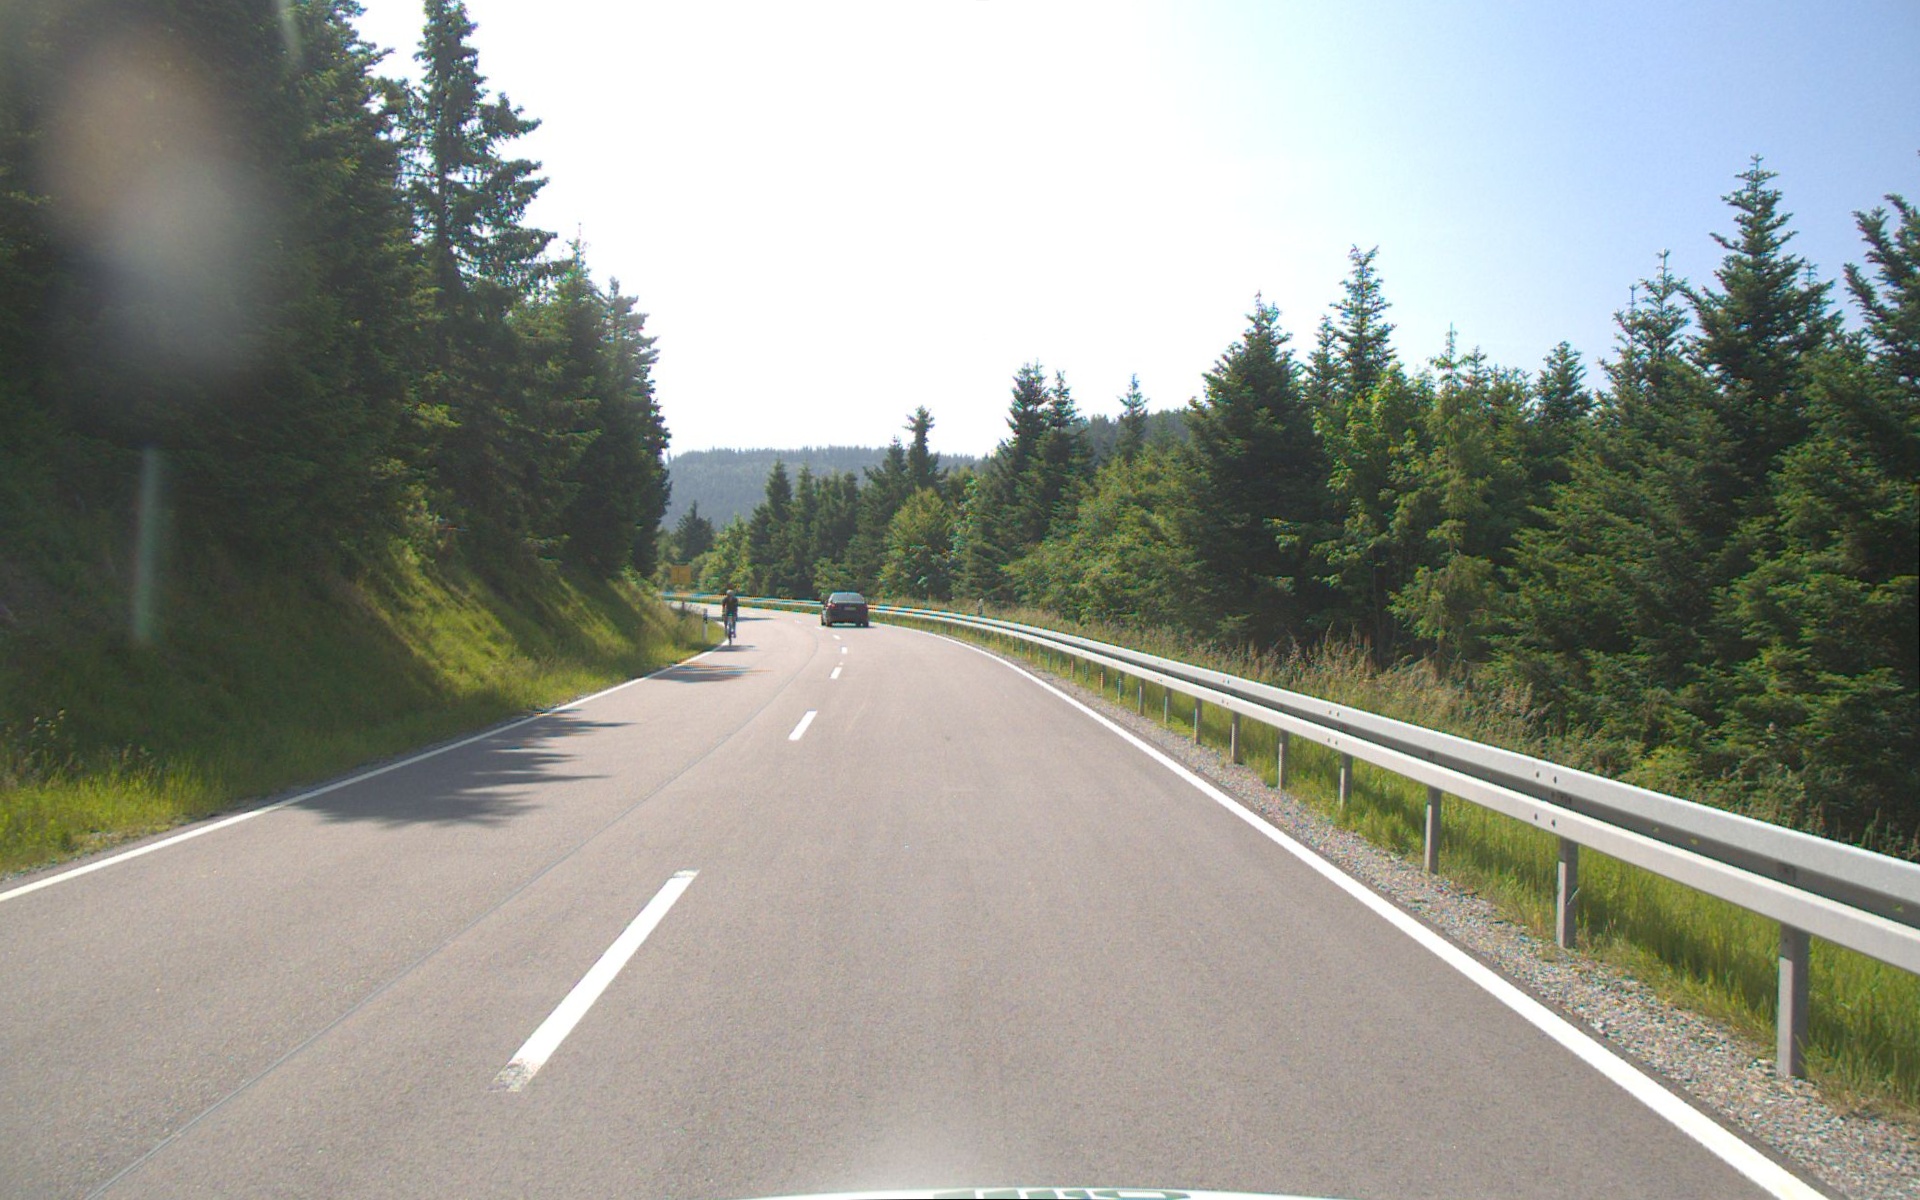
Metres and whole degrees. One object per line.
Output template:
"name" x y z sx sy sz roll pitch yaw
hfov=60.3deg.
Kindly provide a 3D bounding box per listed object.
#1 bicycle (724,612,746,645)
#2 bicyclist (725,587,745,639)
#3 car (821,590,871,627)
"bicycle" -6.526 0.814 47.995 0.542 0.902 2.060 -1 0 -6
"bicyclist" -6.524 0.360 47.933 0.531 1.476 0.982 -1 0 -7
"car" -4.836 0.338 69.628 1.743 1.467 3.701 -1 0 -9
